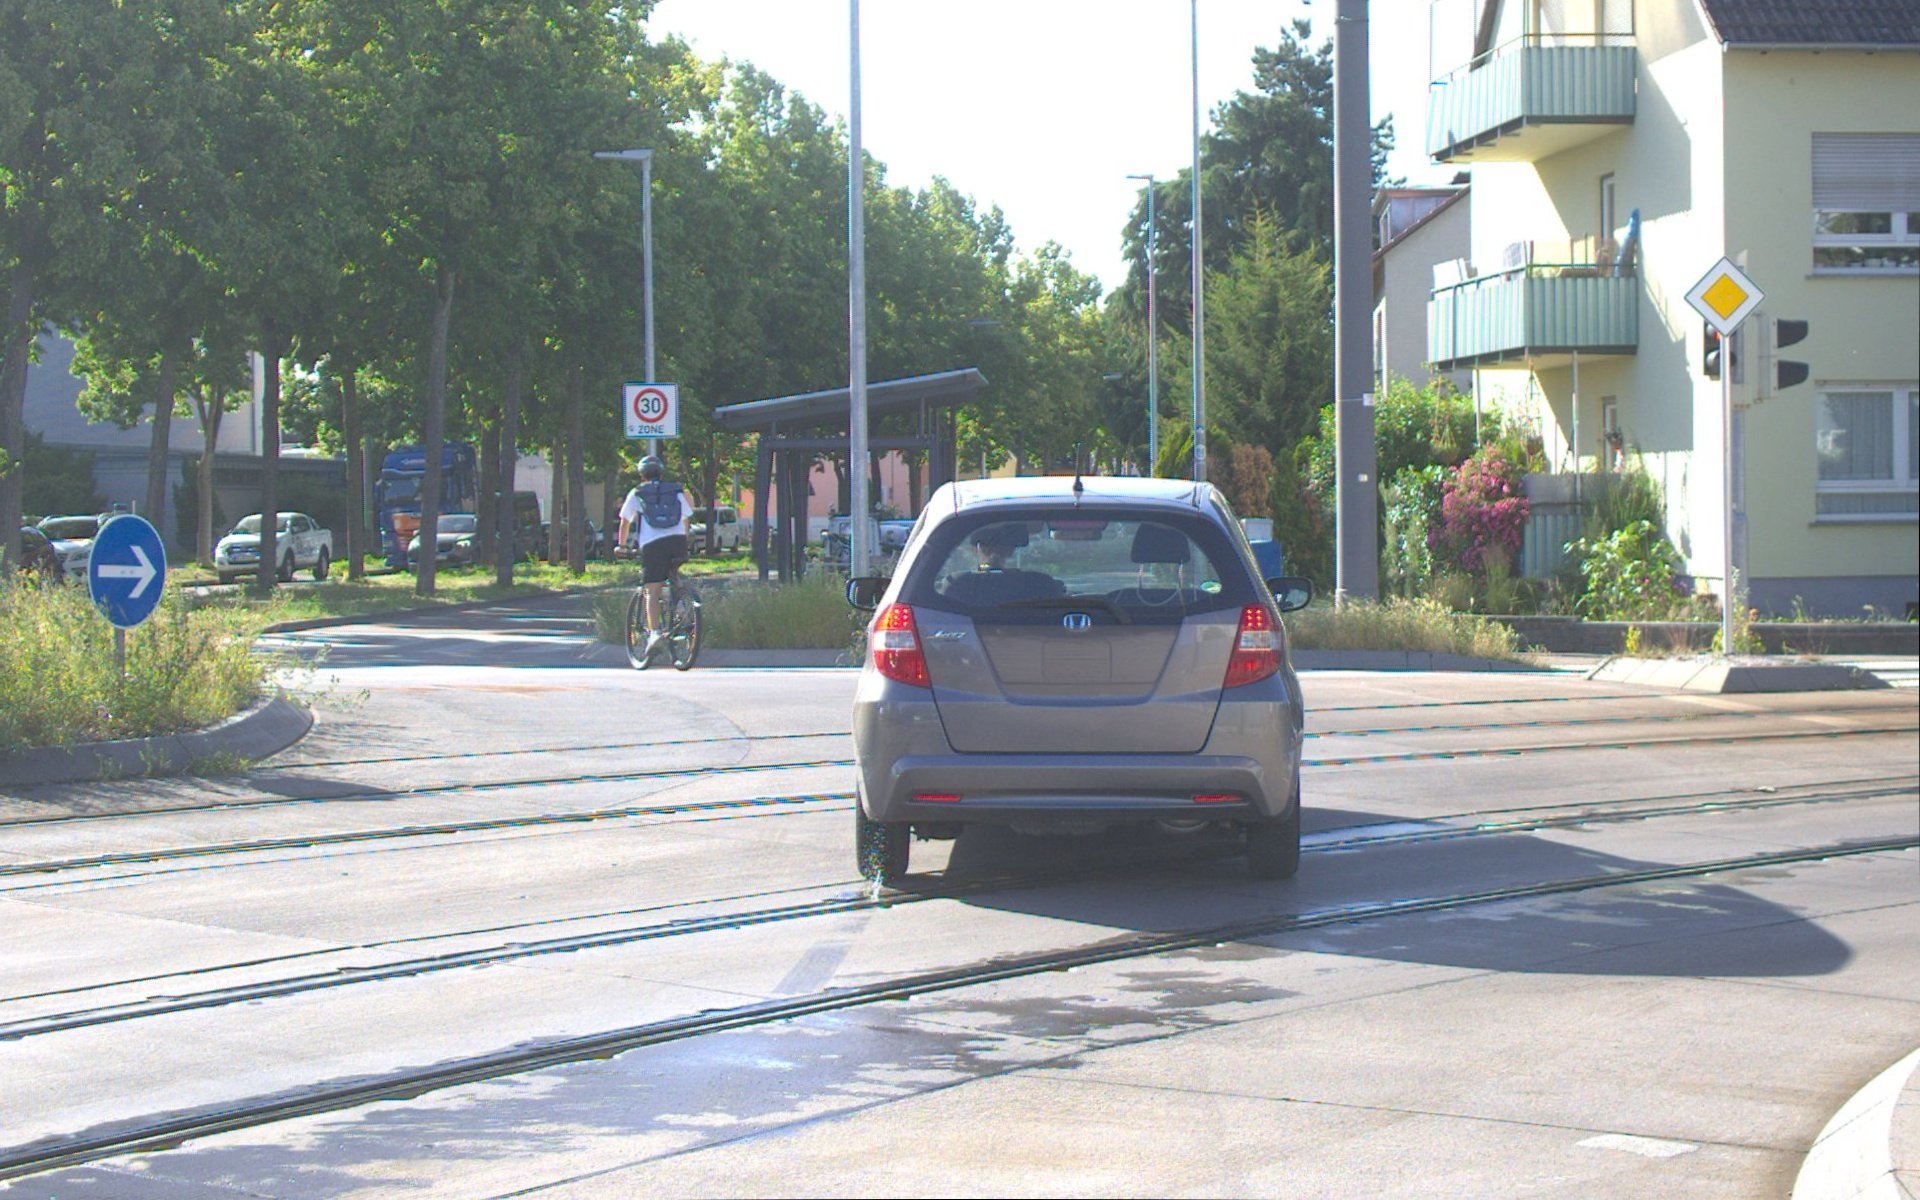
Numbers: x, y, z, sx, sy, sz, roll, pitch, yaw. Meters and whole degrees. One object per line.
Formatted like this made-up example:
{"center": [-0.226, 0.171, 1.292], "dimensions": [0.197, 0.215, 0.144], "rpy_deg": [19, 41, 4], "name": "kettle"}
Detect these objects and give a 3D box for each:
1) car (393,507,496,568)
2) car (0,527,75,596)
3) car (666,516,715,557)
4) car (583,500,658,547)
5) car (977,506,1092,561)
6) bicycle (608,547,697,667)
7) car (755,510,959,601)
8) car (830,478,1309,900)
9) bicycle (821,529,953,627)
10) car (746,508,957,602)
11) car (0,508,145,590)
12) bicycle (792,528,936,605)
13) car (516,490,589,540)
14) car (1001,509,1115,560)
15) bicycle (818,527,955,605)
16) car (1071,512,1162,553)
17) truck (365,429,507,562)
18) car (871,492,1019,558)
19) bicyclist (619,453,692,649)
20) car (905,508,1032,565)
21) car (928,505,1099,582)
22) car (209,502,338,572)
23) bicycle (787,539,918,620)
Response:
{"center": [-13.989, -1.715, 93.537], "dimensions": [1.831, 1.575, 4.440], "rpy_deg": [1, 1, 4], "name": "car"}
{"center": [-19.370, -0.805, 69.726], "dimensions": [1.961, 1.319, 4.001], "rpy_deg": [1, 1, -3], "name": "car"}
{"center": [-11.113, -2.621, 142.001], "dimensions": [1.647, 1.642, 3.569], "rpy_deg": [1, 1, 1], "name": "car"}
{"center": [-12.750, -2.886, 129.342], "dimensions": [1.994, 1.694, 4.217], "rpy_deg": [1, 1, 6], "name": "car"}
{"center": [2.195, -1.967, 101.629], "dimensions": [3.359, 1.528, 1.523], "rpy_deg": [1, 1, 1], "name": "car"}
{"center": [-2.714, 0.071, 30.347], "dimensions": [0.766, 1.033, 1.534], "rpy_deg": [0, -1, -5], "name": "bicycle"}
{"center": [-1.812, -0.800, 61.215], "dimensions": [3.517, 1.528, 1.577], "rpy_deg": [1, 1, 2], "name": "car"}
{"center": [0.421, 0.254, 14.168], "dimensions": [1.687, 1.485, 3.914], "rpy_deg": [0, 2, 1], "name": "car"}
{"center": [-0.940, -0.286, 44.129], "dimensions": [1.665, 1.203, 0.689], "rpy_deg": [1, 1, -2], "name": "bicycle"}
{"center": [-1.858, -0.788, 59.449], "dimensions": [3.517, 1.528, 1.577], "rpy_deg": [1, 1, 2], "name": "car"}
{"center": [-19.211, -1.127, 74.529], "dimensions": [1.993, 1.694, 4.218], "rpy_deg": [1, 1, 1], "name": "car"}
{"center": [-1.338, -0.468, 47.820], "dimensions": [1.973, 1.024, 0.696], "rpy_deg": [1, 1, -2], "name": "bicycle"}
{"center": [-14.257, -2.973, 120.453], "dimensions": [1.993, 1.694, 4.218], "rpy_deg": [1, 1, 1], "name": "car"}
{"center": [3.024, -2.023, 106.381], "dimensions": [3.479, 1.488, 1.552], "rpy_deg": [1, 1, 1], "name": "car"}
{"center": [-1.009, -0.469, 46.922], "dimensions": [1.840, 1.024, 0.689], "rpy_deg": [1, 1, -2], "name": "bicycle"}
{"center": [6.204, -2.675, 136.311], "dimensions": [3.517, 1.528, 1.577], "rpy_deg": [1, 1, 1], "name": "car"}
{"center": [-16.482, -3.310, 108.653], "dimensions": [3.069, 3.979, 8.009], "rpy_deg": [1, 2, 1], "name": "truck"}
{"center": [-0.350, -1.820, 83.305], "dimensions": [3.517, 1.528, 1.577], "rpy_deg": [1, 1, 2], "name": "car"}
{"center": [-2.703, -0.427, 30.525], "dimensions": [0.603, 1.708, 0.544], "rpy_deg": [-1, -2, -3], "name": "bicyclist"}
{"center": [0.238, -1.777, 95.920], "dimensions": [3.412, 1.528, 1.525], "rpy_deg": [0, 2, 5], "name": "car"}
{"center": [1.138, -1.197, 72.052], "dimensions": [3.517, 1.528, 1.577], "rpy_deg": [1, 1, 2], "name": "car"}
{"center": [-18.141, -1.684, 91.049], "dimensions": [1.994, 1.766, 5.059], "rpy_deg": [1, 1, 5], "name": "car"}
{"center": [-1.419, -0.280, 45.406], "dimensions": [1.690, 1.024, 0.599], "rpy_deg": [1, 1, -2], "name": "bicycle"}
